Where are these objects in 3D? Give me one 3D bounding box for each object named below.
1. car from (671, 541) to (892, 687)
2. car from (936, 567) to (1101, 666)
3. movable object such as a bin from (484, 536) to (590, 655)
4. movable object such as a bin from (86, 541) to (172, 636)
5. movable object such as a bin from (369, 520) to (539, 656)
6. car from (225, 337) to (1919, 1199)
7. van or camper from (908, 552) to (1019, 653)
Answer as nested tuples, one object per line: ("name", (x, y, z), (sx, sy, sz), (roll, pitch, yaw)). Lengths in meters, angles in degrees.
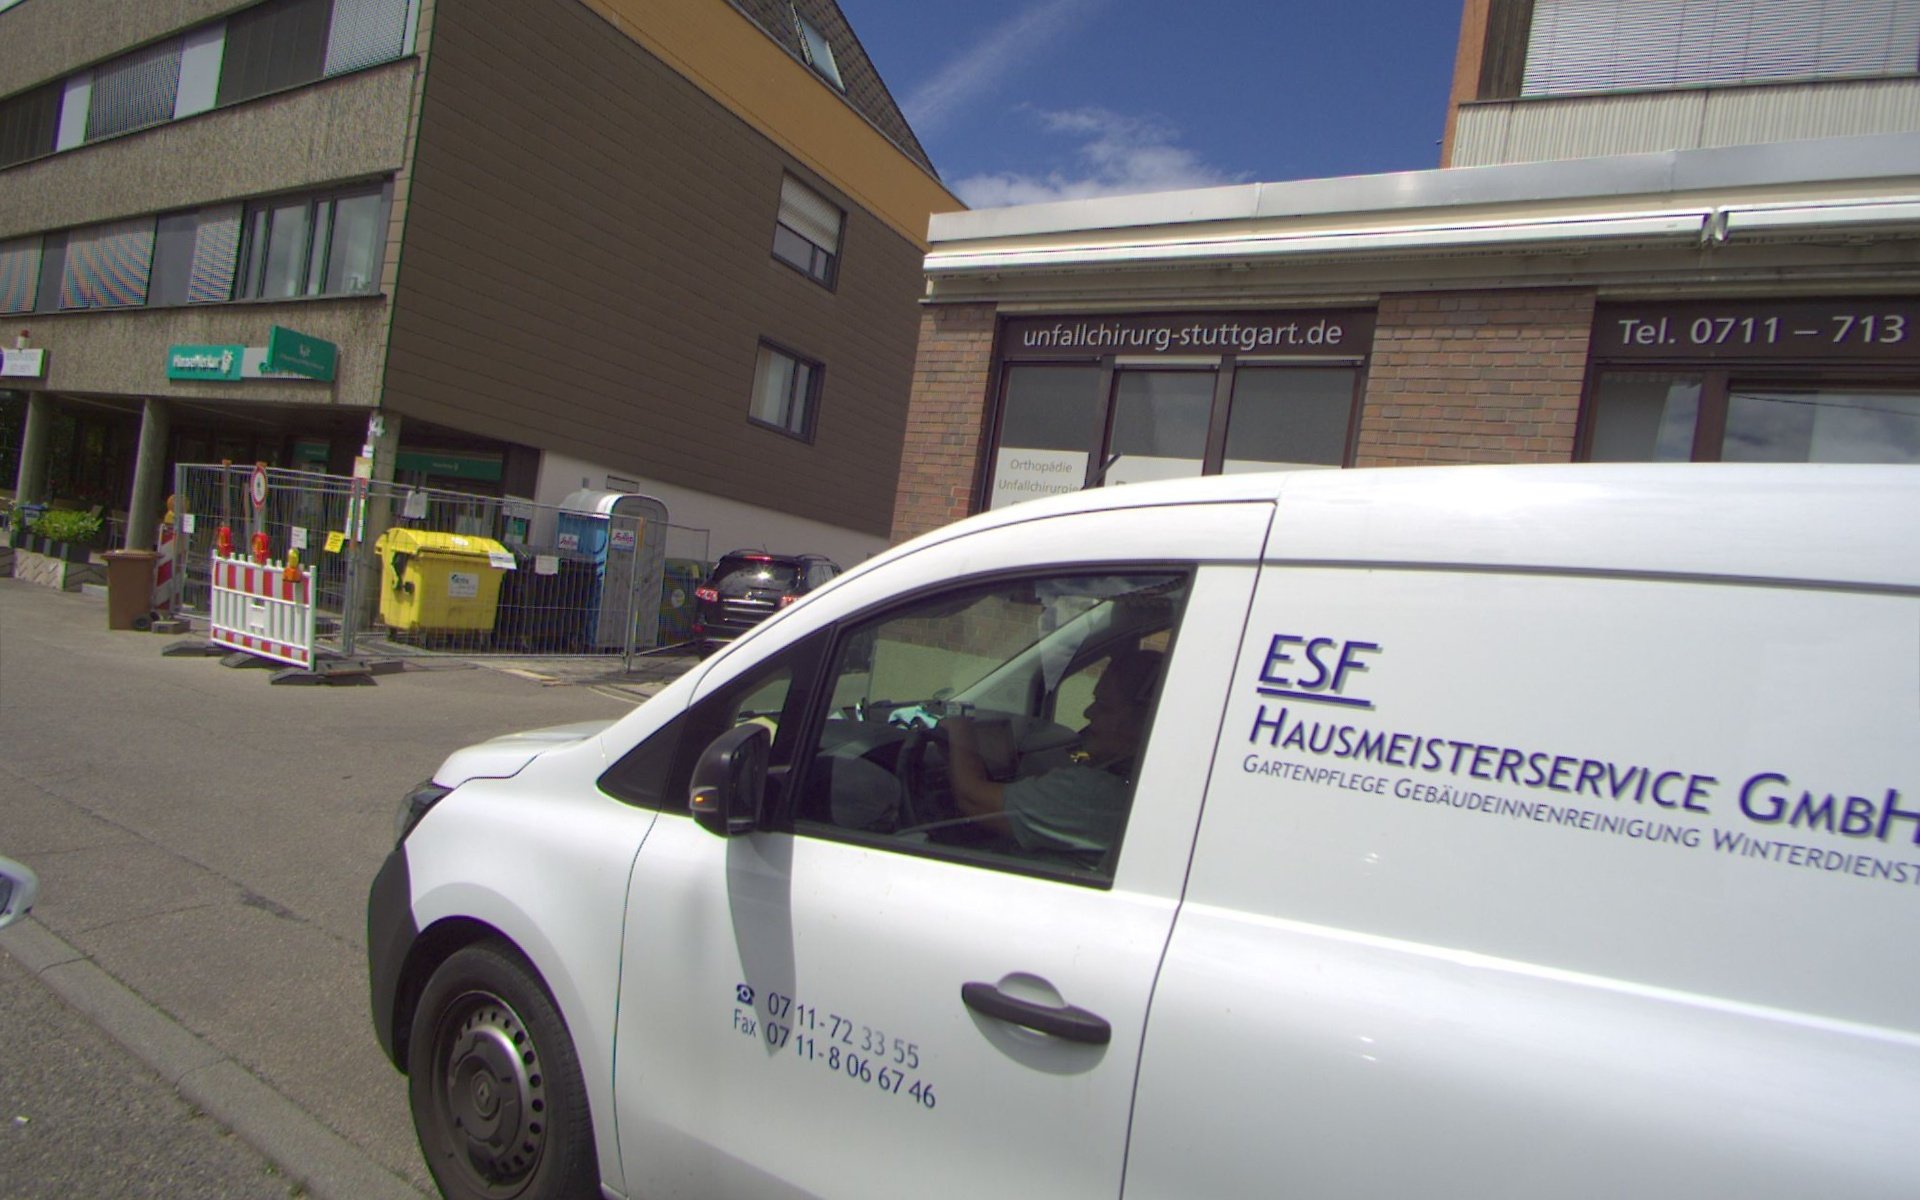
("car", (-2.595, 0.157, 15.575), (1.881, 1.803, 3.774), (6, 2, 13))
("car", (1.636, 0.500, 26.064), (2.031, 2.071, 4.743), (7, -1, 32))
("movable object such as a bin", (-5.874, -0.060, 13.969), (1.001, 1.458, 0.780), (10, 2, 34))
("movable object such as a bin", (-9.840, -0.143, 11.937), (0.598, 1.039, 0.673), (6, 1, -30))
("movable object such as a bin", (-6.508, -0.131, 12.989), (1.058, 1.511, 1.484), (10, 1, 34))
("car", (0.473, 0.600, 2.339), (4.416, 1.817, 1.912), (7, 1, 31))
("van or camper", (-0.036, 0.091, 36.193), (2.510, 3.035, 6.447), (6, -1, -11))
